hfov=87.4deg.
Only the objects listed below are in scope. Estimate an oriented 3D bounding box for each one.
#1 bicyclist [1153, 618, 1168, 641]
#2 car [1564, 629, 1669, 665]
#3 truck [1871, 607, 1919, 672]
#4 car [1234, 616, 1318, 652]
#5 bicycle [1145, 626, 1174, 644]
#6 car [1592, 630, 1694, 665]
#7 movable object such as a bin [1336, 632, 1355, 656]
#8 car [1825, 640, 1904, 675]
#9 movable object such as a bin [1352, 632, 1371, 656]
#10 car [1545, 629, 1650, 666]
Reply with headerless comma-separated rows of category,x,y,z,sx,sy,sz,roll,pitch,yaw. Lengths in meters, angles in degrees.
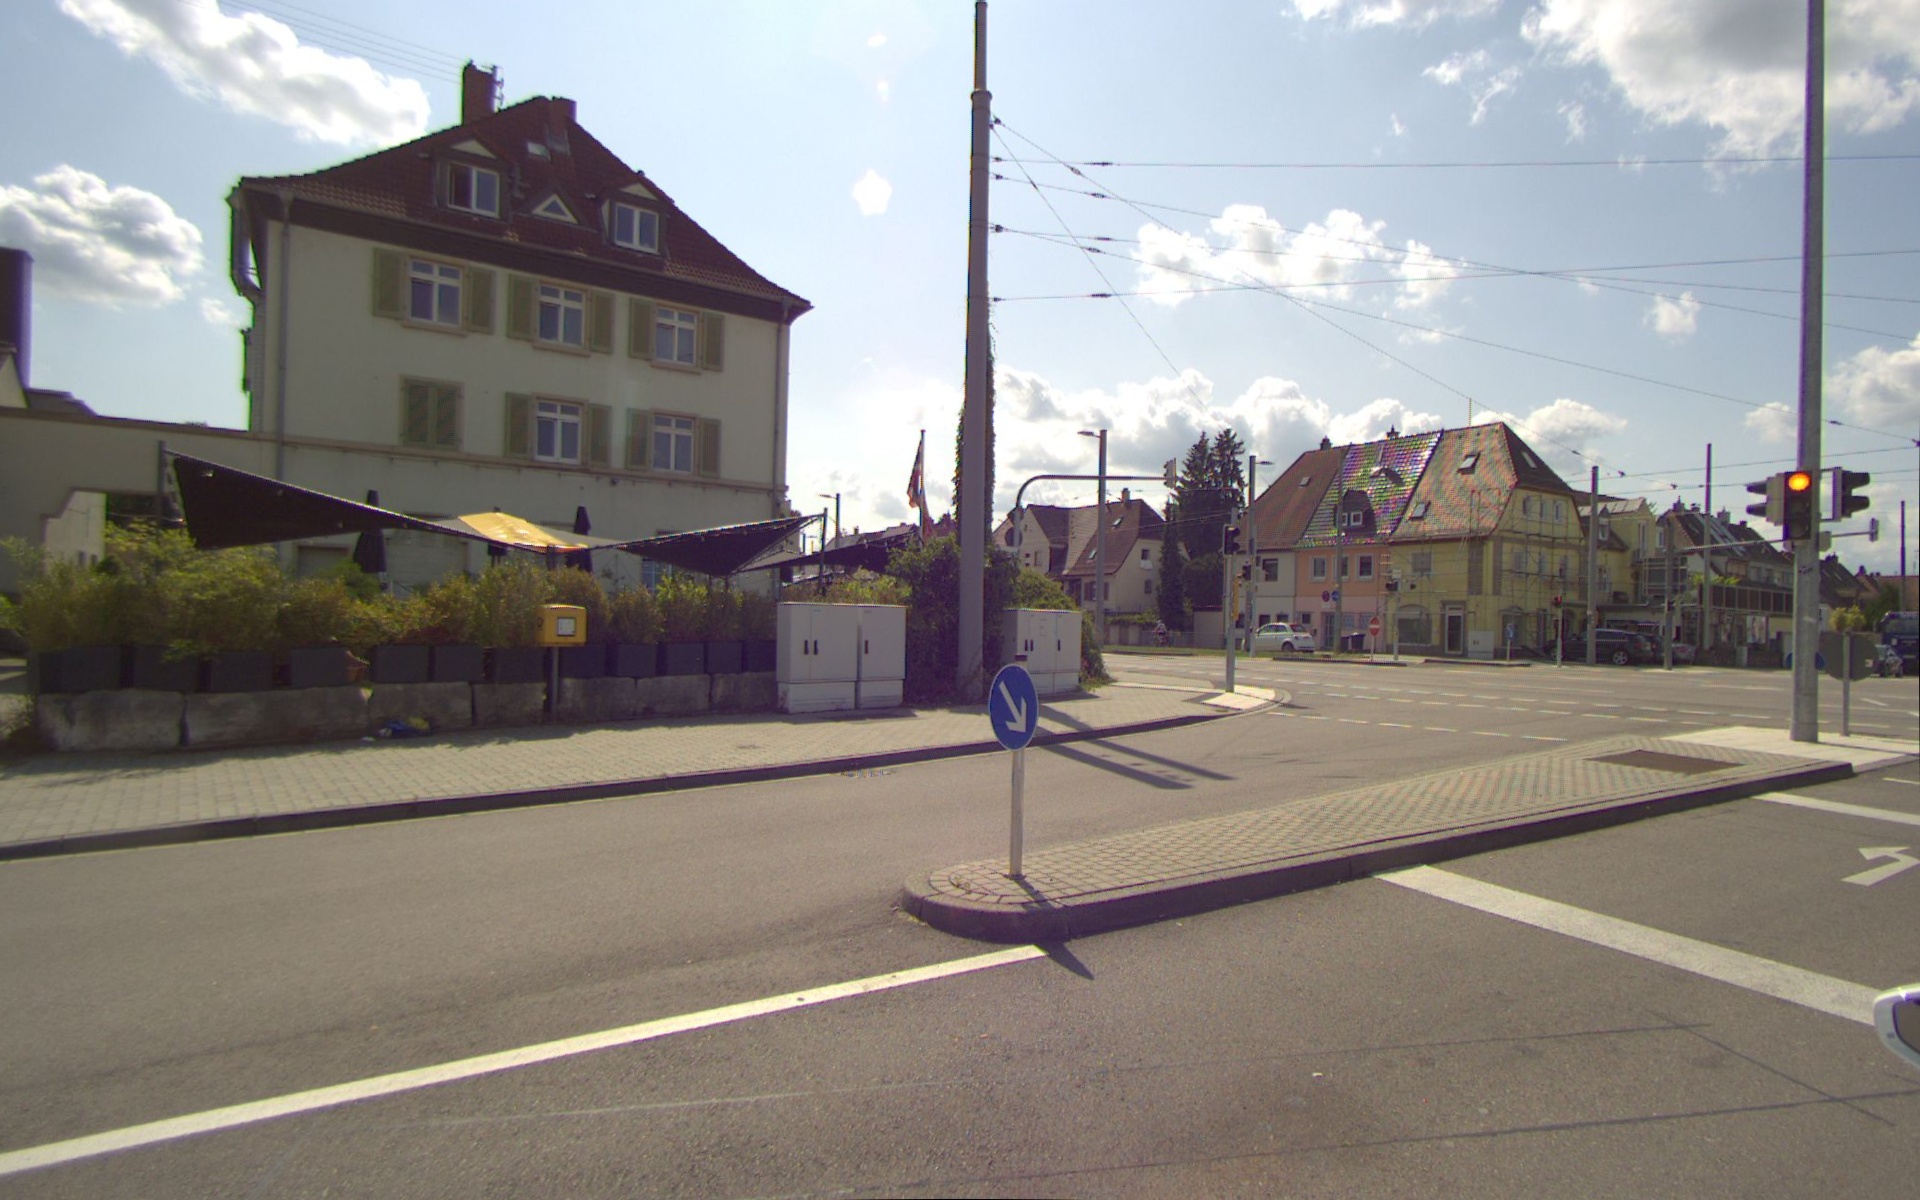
bicyclist,12.547,1.845,62.896,0.571,1.416,0.717,1,-1,-34
car,32.800,2.315,50.296,1.493,1.513,4.103,2,0,-37
truck,50.845,2.141,53.148,7.516,3.230,2.747,3,-2,-38
car,14.741,1.563,47.043,1.569,1.528,3.517,2,0,-34
bicycle,12.498,2.200,62.914,0.687,1.092,1.888,1,-1,-33
car,35.090,2.427,51.689,1.422,1.513,4.103,2,0,-37
movable object such as a bin,20.895,2.376,54.464,0.674,1.277,0.677,2,0,-33
car,41.584,2.632,46.179,4.291,1.506,1.816,3,-2,-35
movable object such as a bin,22.022,2.413,55.152,0.674,1.277,0.677,2,0,-33
car,30.741,2.247,48.556,1.168,1.513,4.103,2,0,-37
